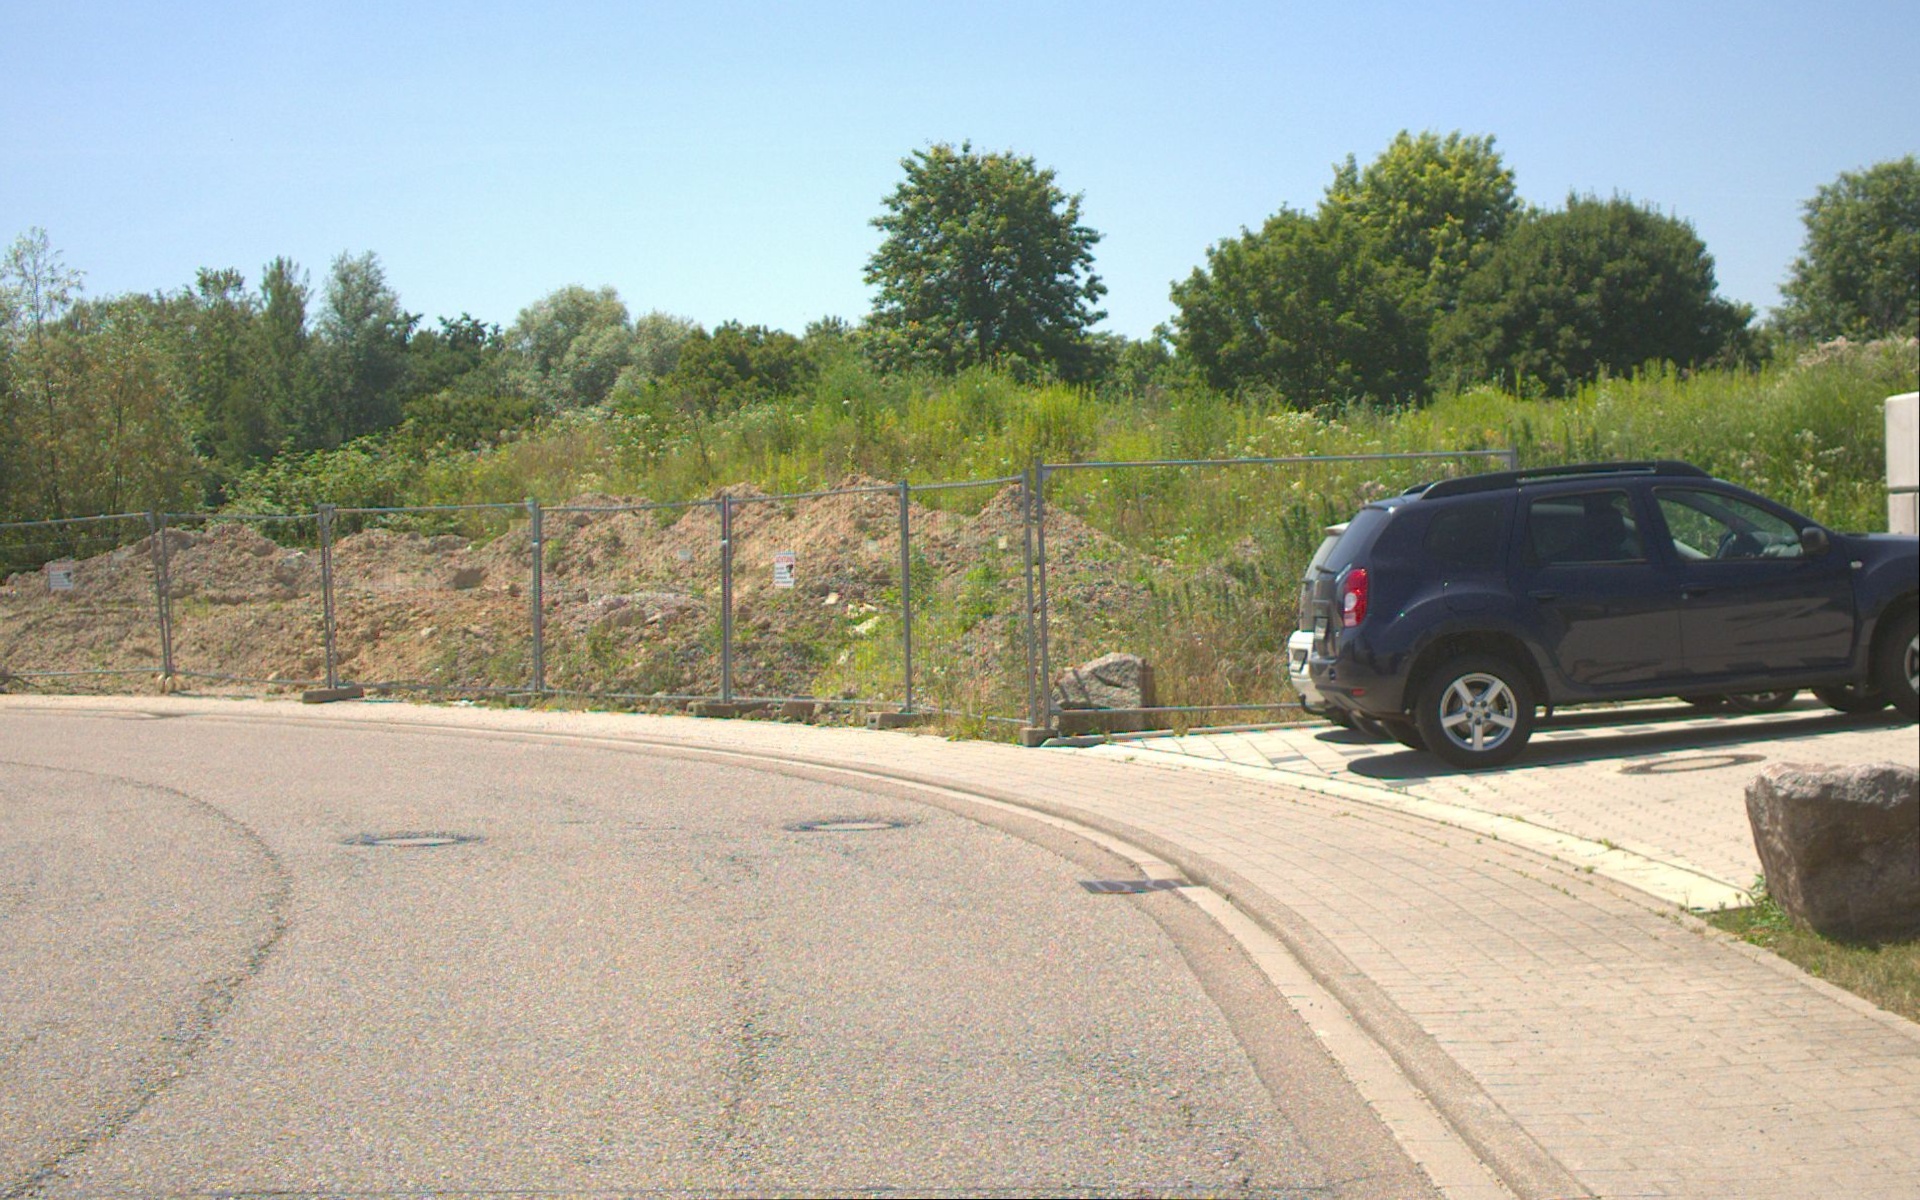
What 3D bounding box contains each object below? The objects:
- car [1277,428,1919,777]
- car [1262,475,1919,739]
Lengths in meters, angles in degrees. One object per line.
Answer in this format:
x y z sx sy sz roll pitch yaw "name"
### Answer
4.055 -0.025 20.392 4.010 1.649 1.858 -6 1 -1 "car"
4.178 0.030 23.135 4.009 1.457 1.893 -4 1 -1 "car"
